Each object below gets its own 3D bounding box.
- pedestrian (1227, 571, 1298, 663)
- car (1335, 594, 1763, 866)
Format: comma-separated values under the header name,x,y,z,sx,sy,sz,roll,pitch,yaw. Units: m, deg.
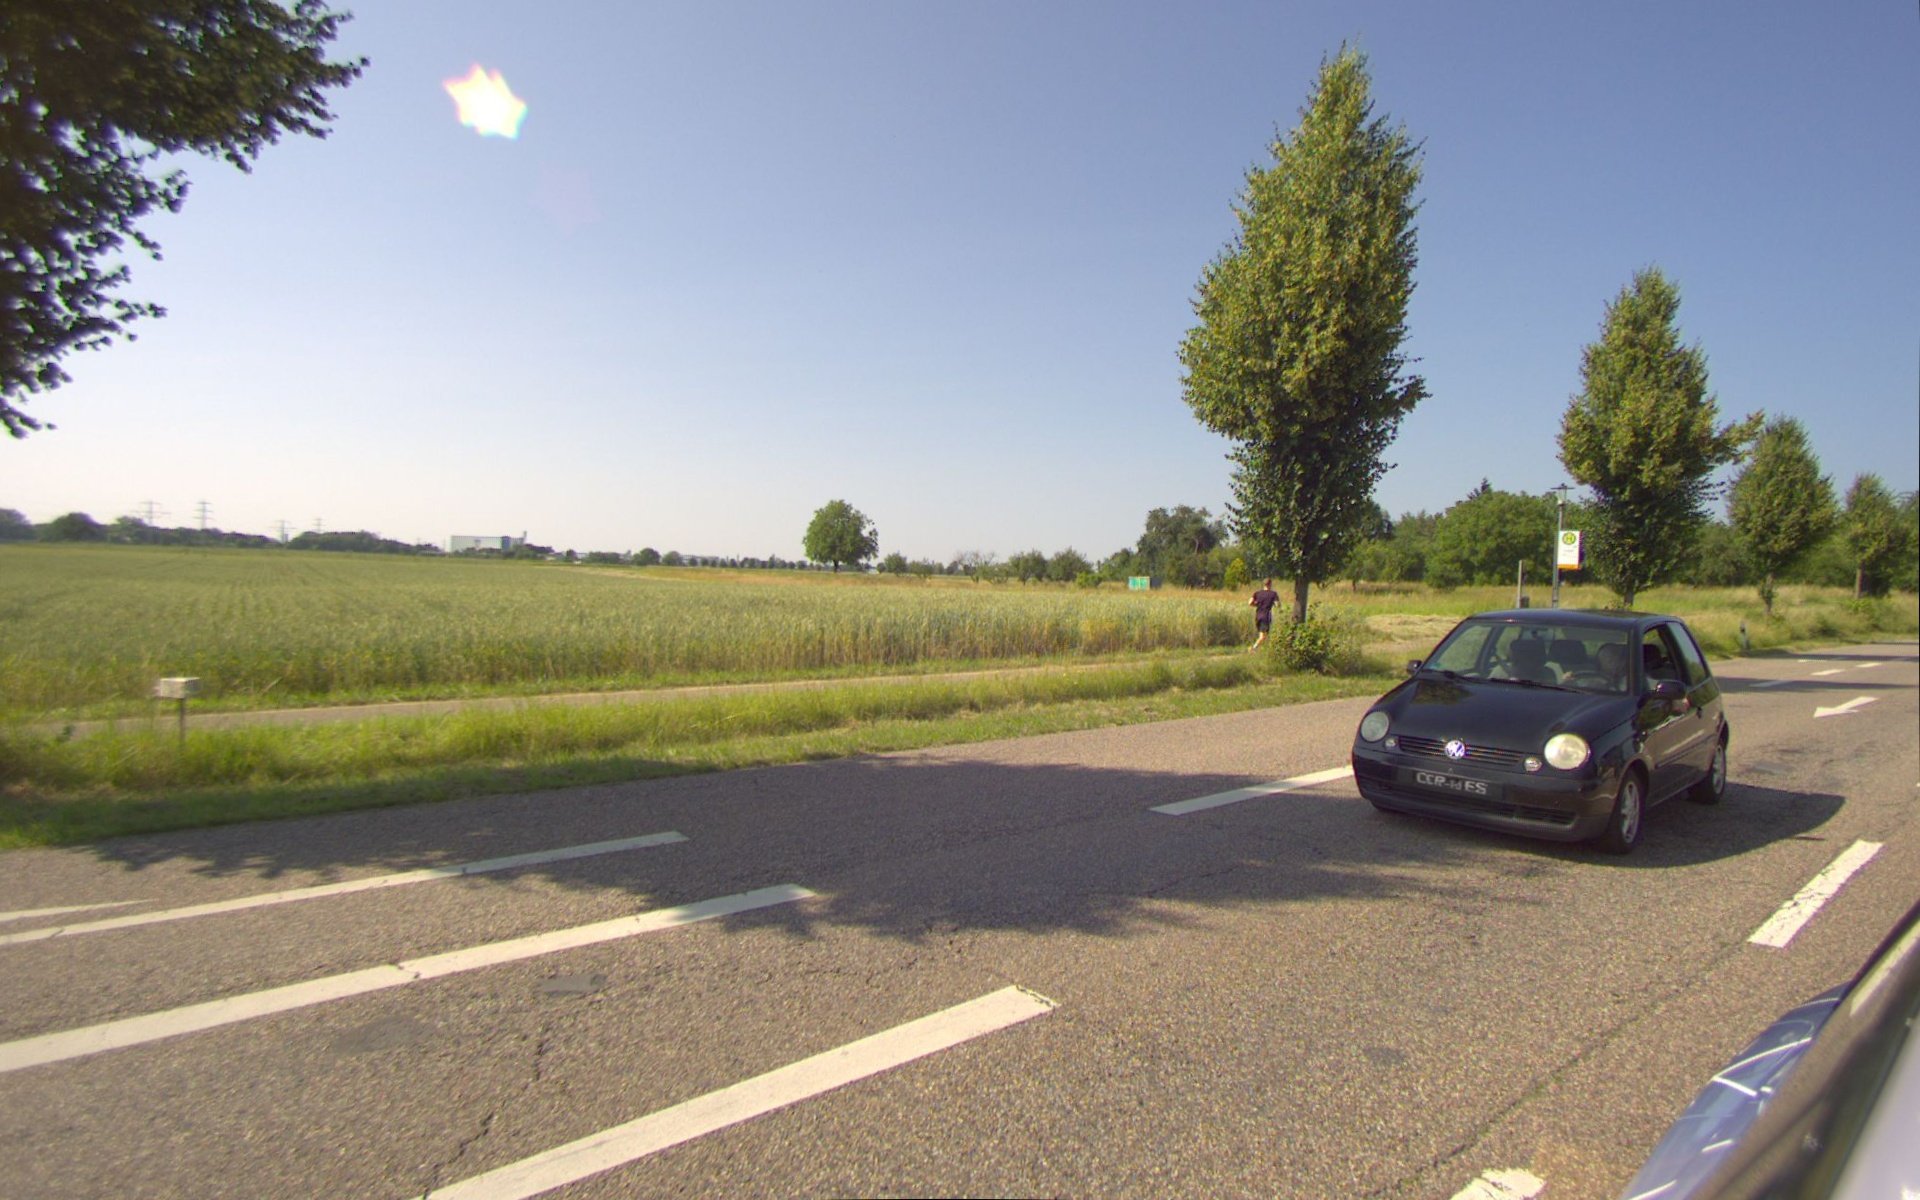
name,x,y,z,sx,sy,sz,roll,pitch,yaw
pedestrian,6.384,0.337,21.347,1.174,1.862,0.903,1,1,-43
car,4.336,0.701,7.244,3.560,1.451,1.628,0,0,-42
